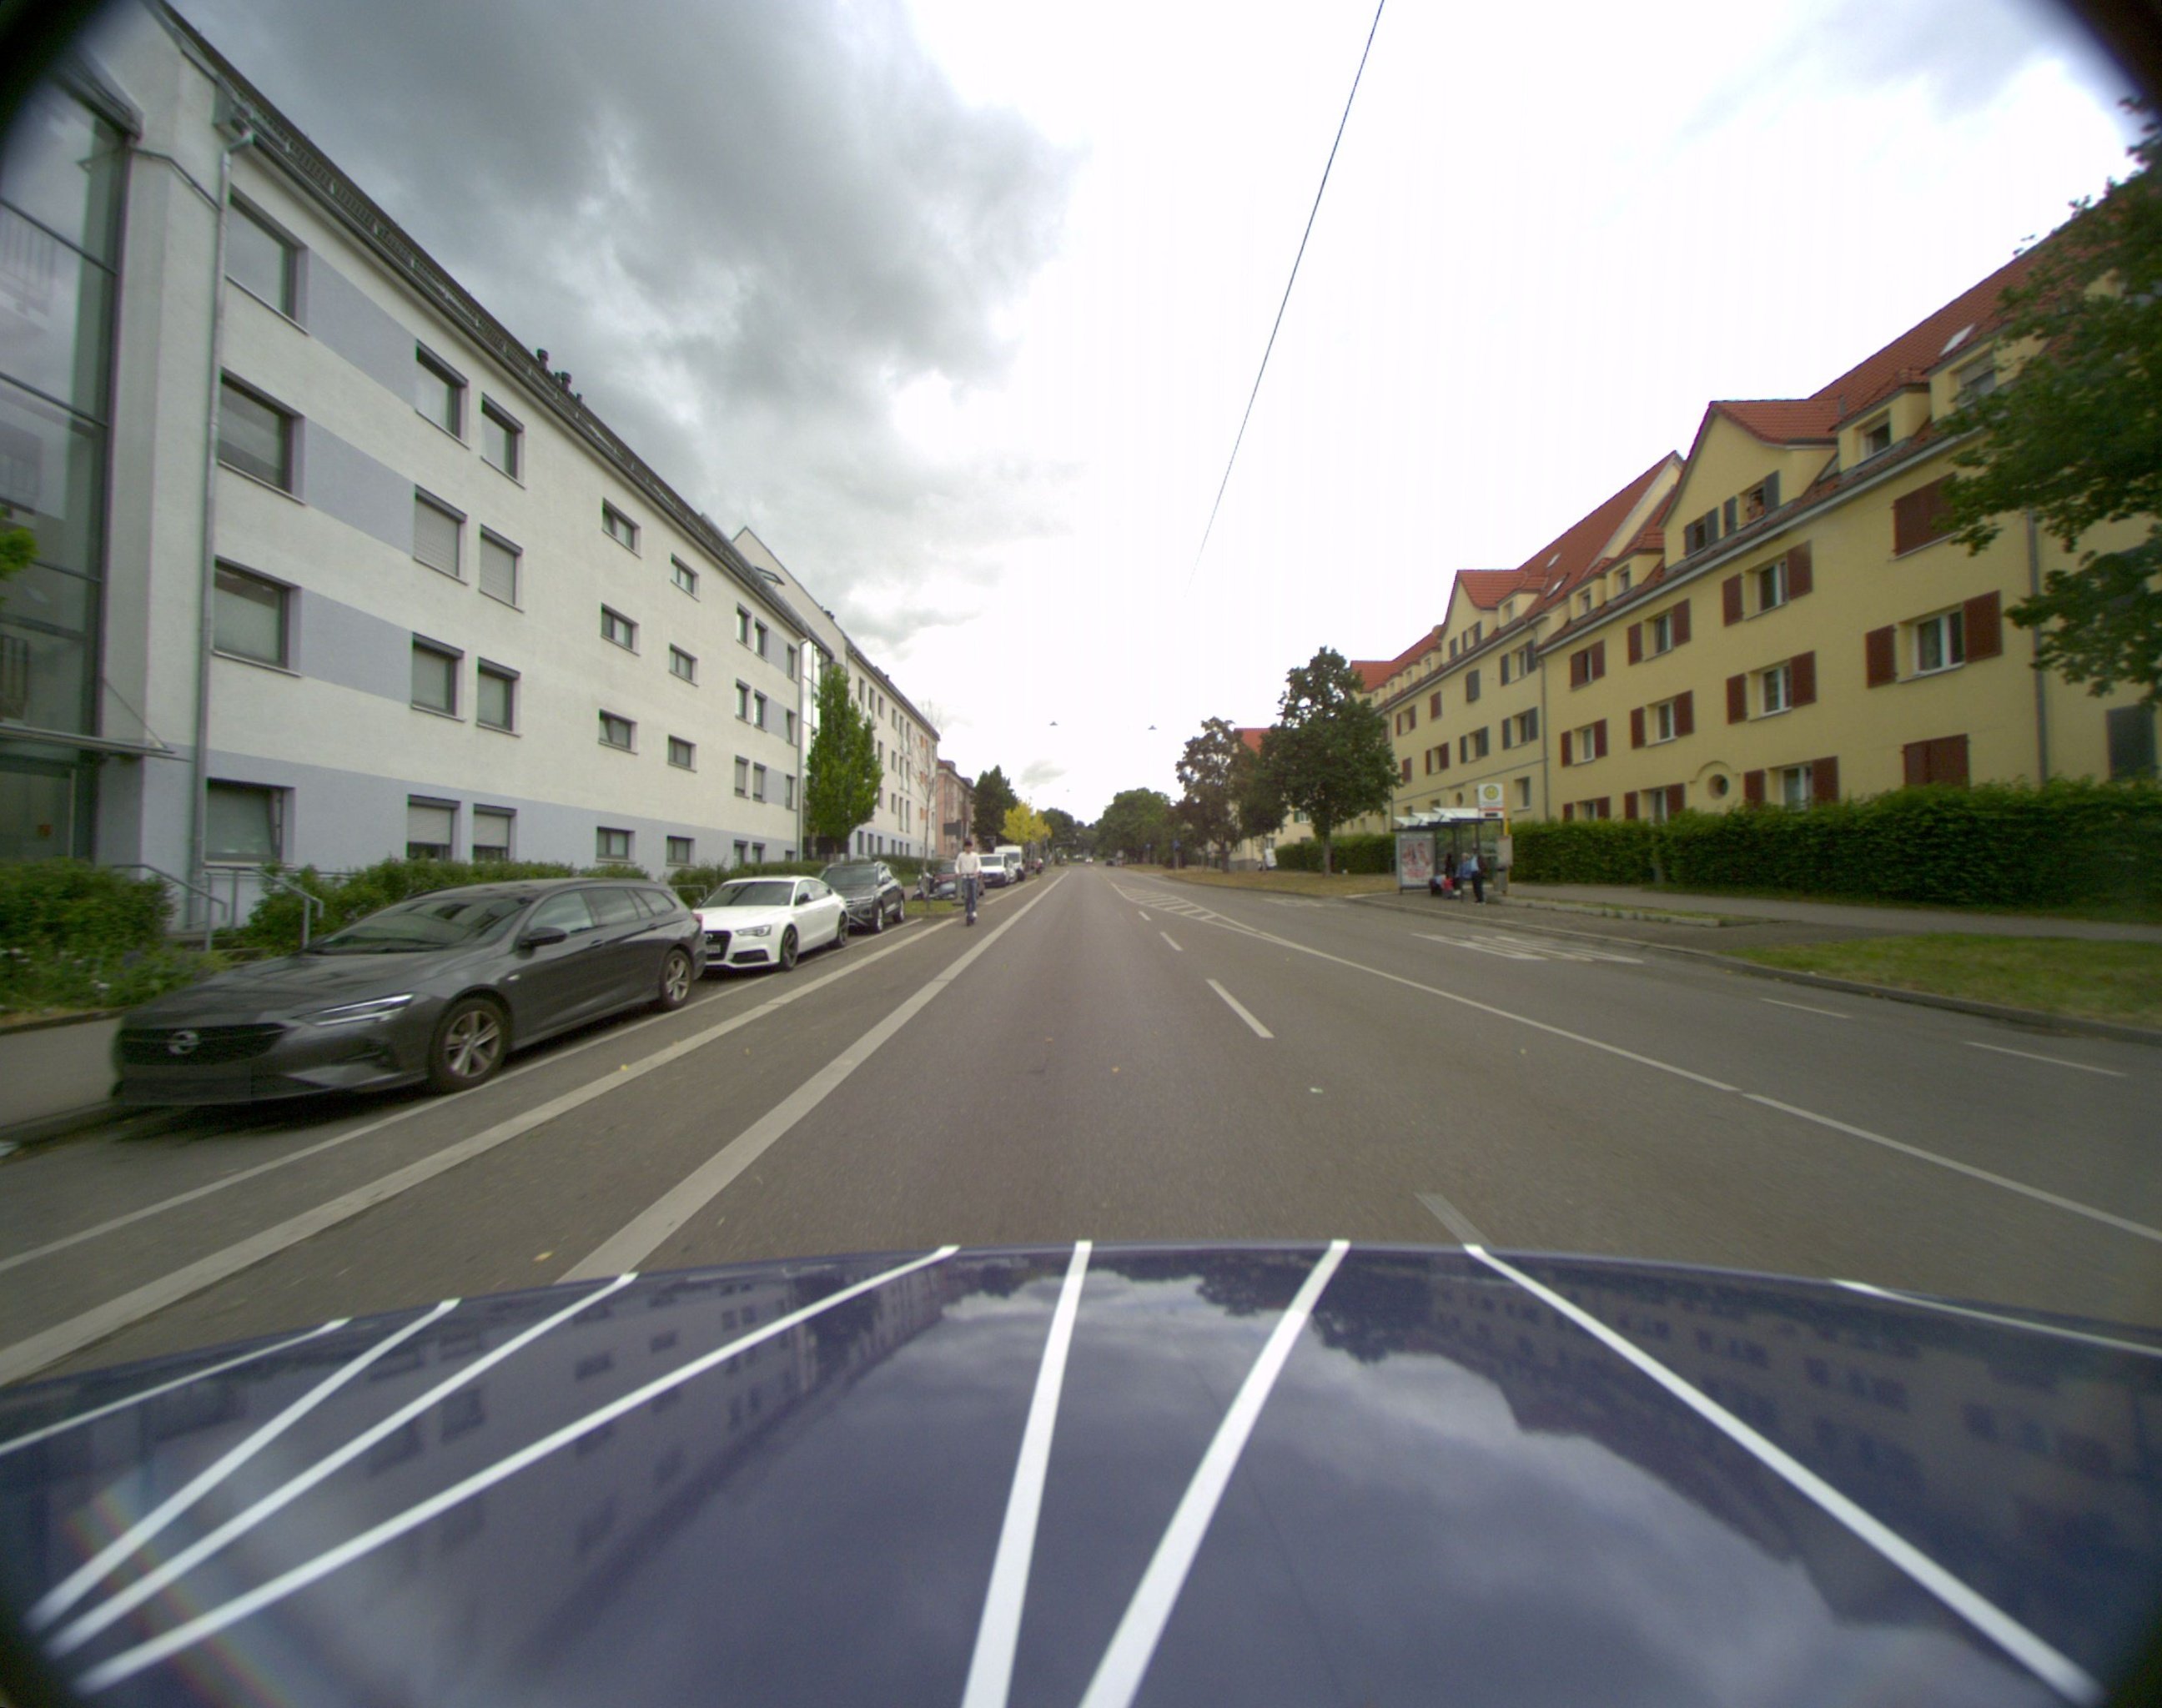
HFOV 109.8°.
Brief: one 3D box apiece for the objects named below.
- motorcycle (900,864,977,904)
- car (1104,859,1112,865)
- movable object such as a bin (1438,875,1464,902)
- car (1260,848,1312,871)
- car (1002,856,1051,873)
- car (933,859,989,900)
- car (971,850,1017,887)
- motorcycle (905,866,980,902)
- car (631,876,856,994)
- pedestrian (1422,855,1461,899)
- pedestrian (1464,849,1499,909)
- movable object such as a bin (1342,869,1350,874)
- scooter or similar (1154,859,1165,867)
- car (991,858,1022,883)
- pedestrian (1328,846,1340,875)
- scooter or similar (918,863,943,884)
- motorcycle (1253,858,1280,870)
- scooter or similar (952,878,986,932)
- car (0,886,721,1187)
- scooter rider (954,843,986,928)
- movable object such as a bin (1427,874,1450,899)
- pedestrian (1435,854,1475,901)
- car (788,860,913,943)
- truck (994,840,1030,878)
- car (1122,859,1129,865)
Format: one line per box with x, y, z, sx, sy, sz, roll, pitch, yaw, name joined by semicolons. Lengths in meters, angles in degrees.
-5.099;1.053;27.321;2.605;1.372;0.692;-1;0;-4;motorcycle
7.758;2.236;215.507;1.998;1.674;4.002;-1;0;6;car
12.181;1.129;25.027;0.538;0.840;0.665;-2;0;1;movable object such as a bin
20.730;0.564;76.998;4.729;2.240;1.995;0;0;1;car
-5.312;1.009;74.244;4.351;1.610;1.908;-1;0;21;car
-4.878;0.989;31.416;1.685;1.535;4.339;-1;0;-1;car
-4.853;0.805;43.248;1.999;1.932;5.211;-1;0;0;car
-5.107;1.114;28.140;2.605;1.271;0.753;-1;0;-4;motorcycle
-5.157;1.136;12.355;1.735;1.405;4.499;-2;0;-2;car
12.322;0.789;26.015;0.901;1.465;0.806;-2;0;1;pedestrian
11.857;0.730;22.509;0.598;1.716;0.861;-1;0;3;pedestrian
16.520;1.092;47.371;0.307;0.345;0.581;-1;0;6;movable object such as a bin
10.543;1.203;102.363;1.374;1.080;0.466;0;0;-4;scooter or similar
-4.707;1.010;48.350;1.529;1.477;3.726;-2;0;0;car
15.917;0.395;47.838;0.515;1.769;0.753;-1;0;0;pedestrian
-8.012;1.051;40.345;1.382;1.098;0.471;-1;0;36;scooter or similar
19.598;1.054;80.363;2.598;1.271;1.019;0;1;33;motorcycle
-2.642;1.176;18.128;0.492;1.156;2.075;-1;0;0;scooter or similar
-5.256;1.130;6.764;1.750;1.459;4.949;-2;0;-1;car
-2.665;0.740;18.240;0.627;2.002;0.758;-1;0;-1;scooter rider
12.230;1.109;25.991;0.465;0.821;0.665;-2;0;1;movable object such as a bin
12.301;0.765;25.007;0.901;1.501;0.806;-2;0;1;pedestrian
-5.219;0.996;17.816;1.636;1.640;4.355;-2;0;-2;car
-4.803;0.361;53.955;2.058;2.550;5.689;-1;0;-1;truck
12.047;2.081;205.421;1.860;1.596;4.001;-1;0;1;car
